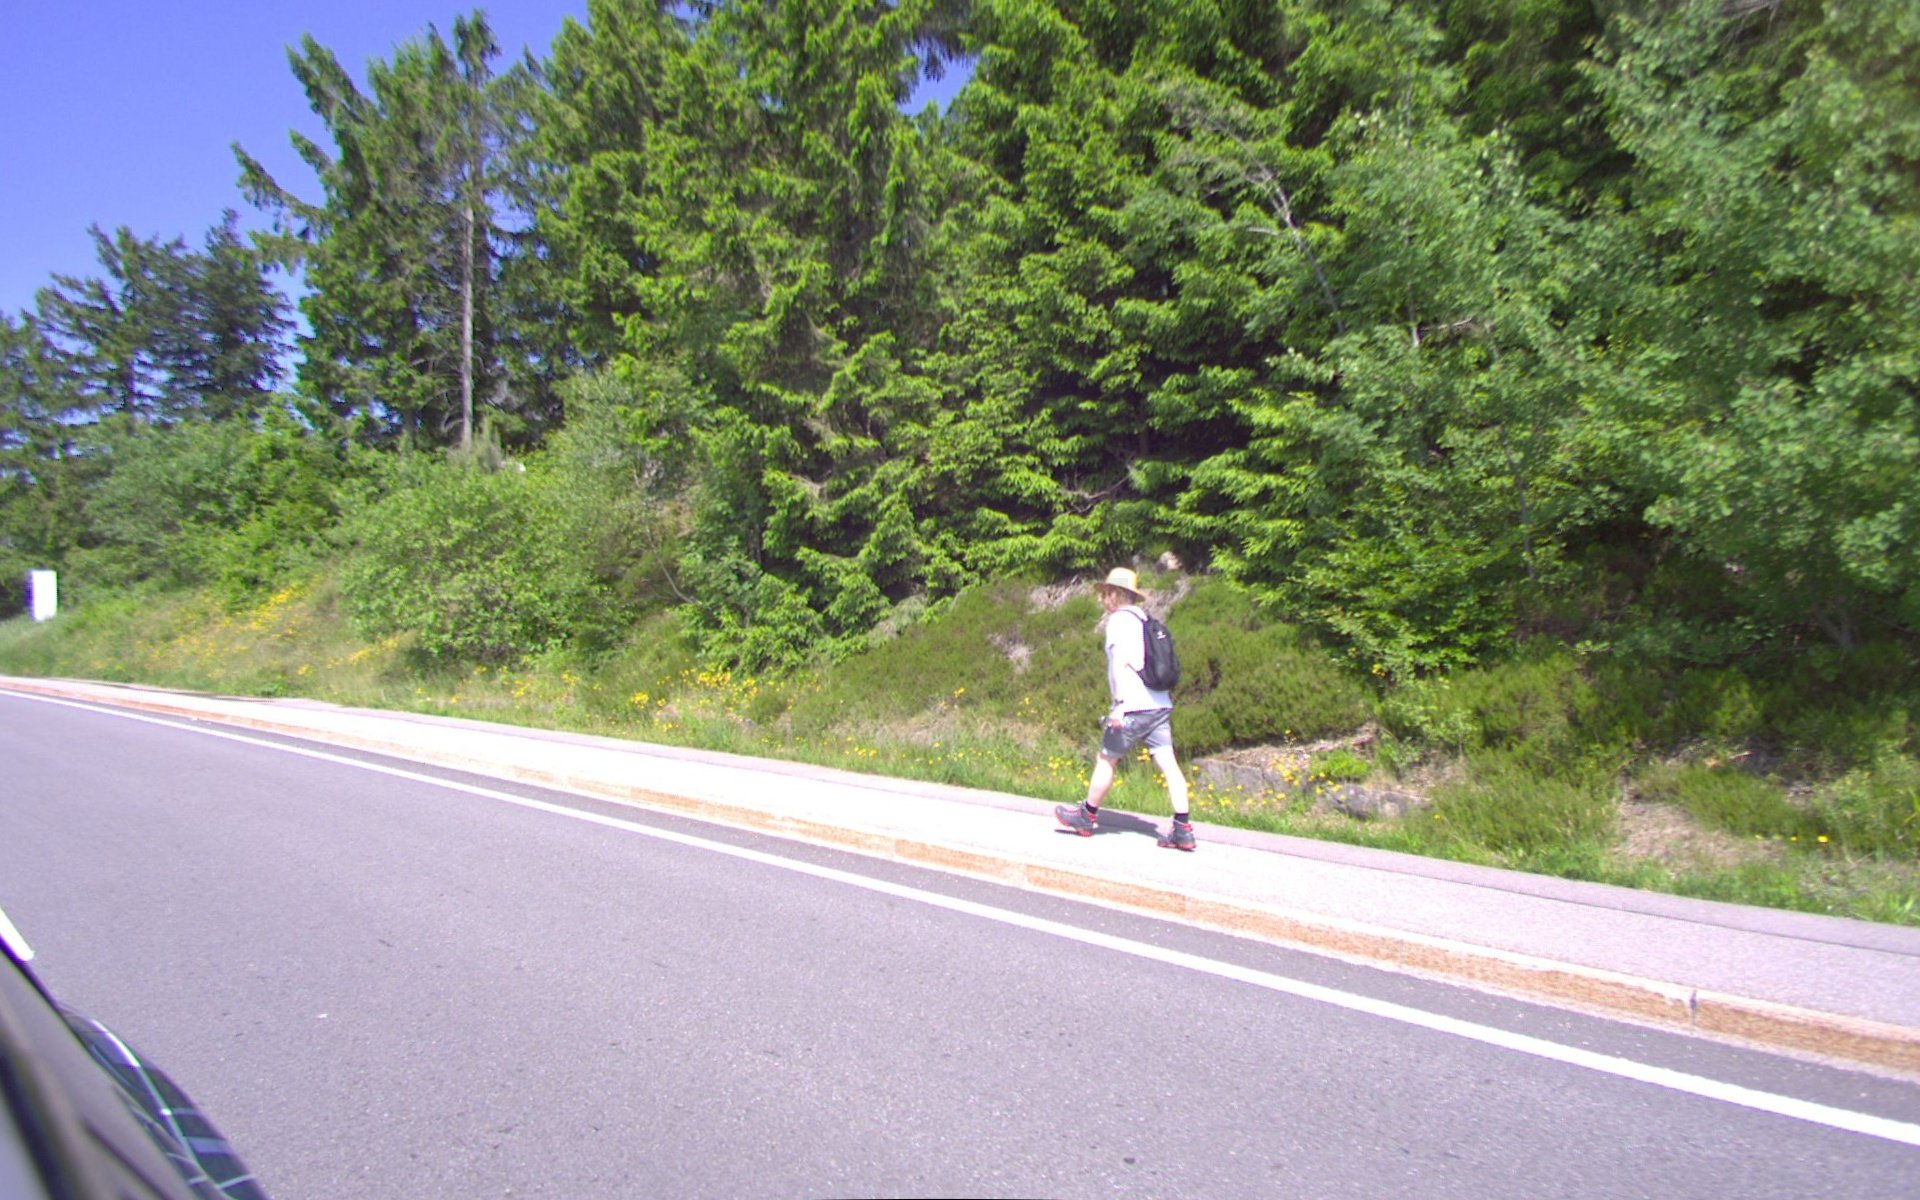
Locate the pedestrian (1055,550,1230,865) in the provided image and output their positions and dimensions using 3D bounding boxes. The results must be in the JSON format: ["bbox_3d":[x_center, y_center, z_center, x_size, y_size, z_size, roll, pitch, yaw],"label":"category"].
[{"bbox_3d":[1.116,0.611,6.201,0.824,1.759,0.676,-1,-2,38],"label":"pedestrian"}]
